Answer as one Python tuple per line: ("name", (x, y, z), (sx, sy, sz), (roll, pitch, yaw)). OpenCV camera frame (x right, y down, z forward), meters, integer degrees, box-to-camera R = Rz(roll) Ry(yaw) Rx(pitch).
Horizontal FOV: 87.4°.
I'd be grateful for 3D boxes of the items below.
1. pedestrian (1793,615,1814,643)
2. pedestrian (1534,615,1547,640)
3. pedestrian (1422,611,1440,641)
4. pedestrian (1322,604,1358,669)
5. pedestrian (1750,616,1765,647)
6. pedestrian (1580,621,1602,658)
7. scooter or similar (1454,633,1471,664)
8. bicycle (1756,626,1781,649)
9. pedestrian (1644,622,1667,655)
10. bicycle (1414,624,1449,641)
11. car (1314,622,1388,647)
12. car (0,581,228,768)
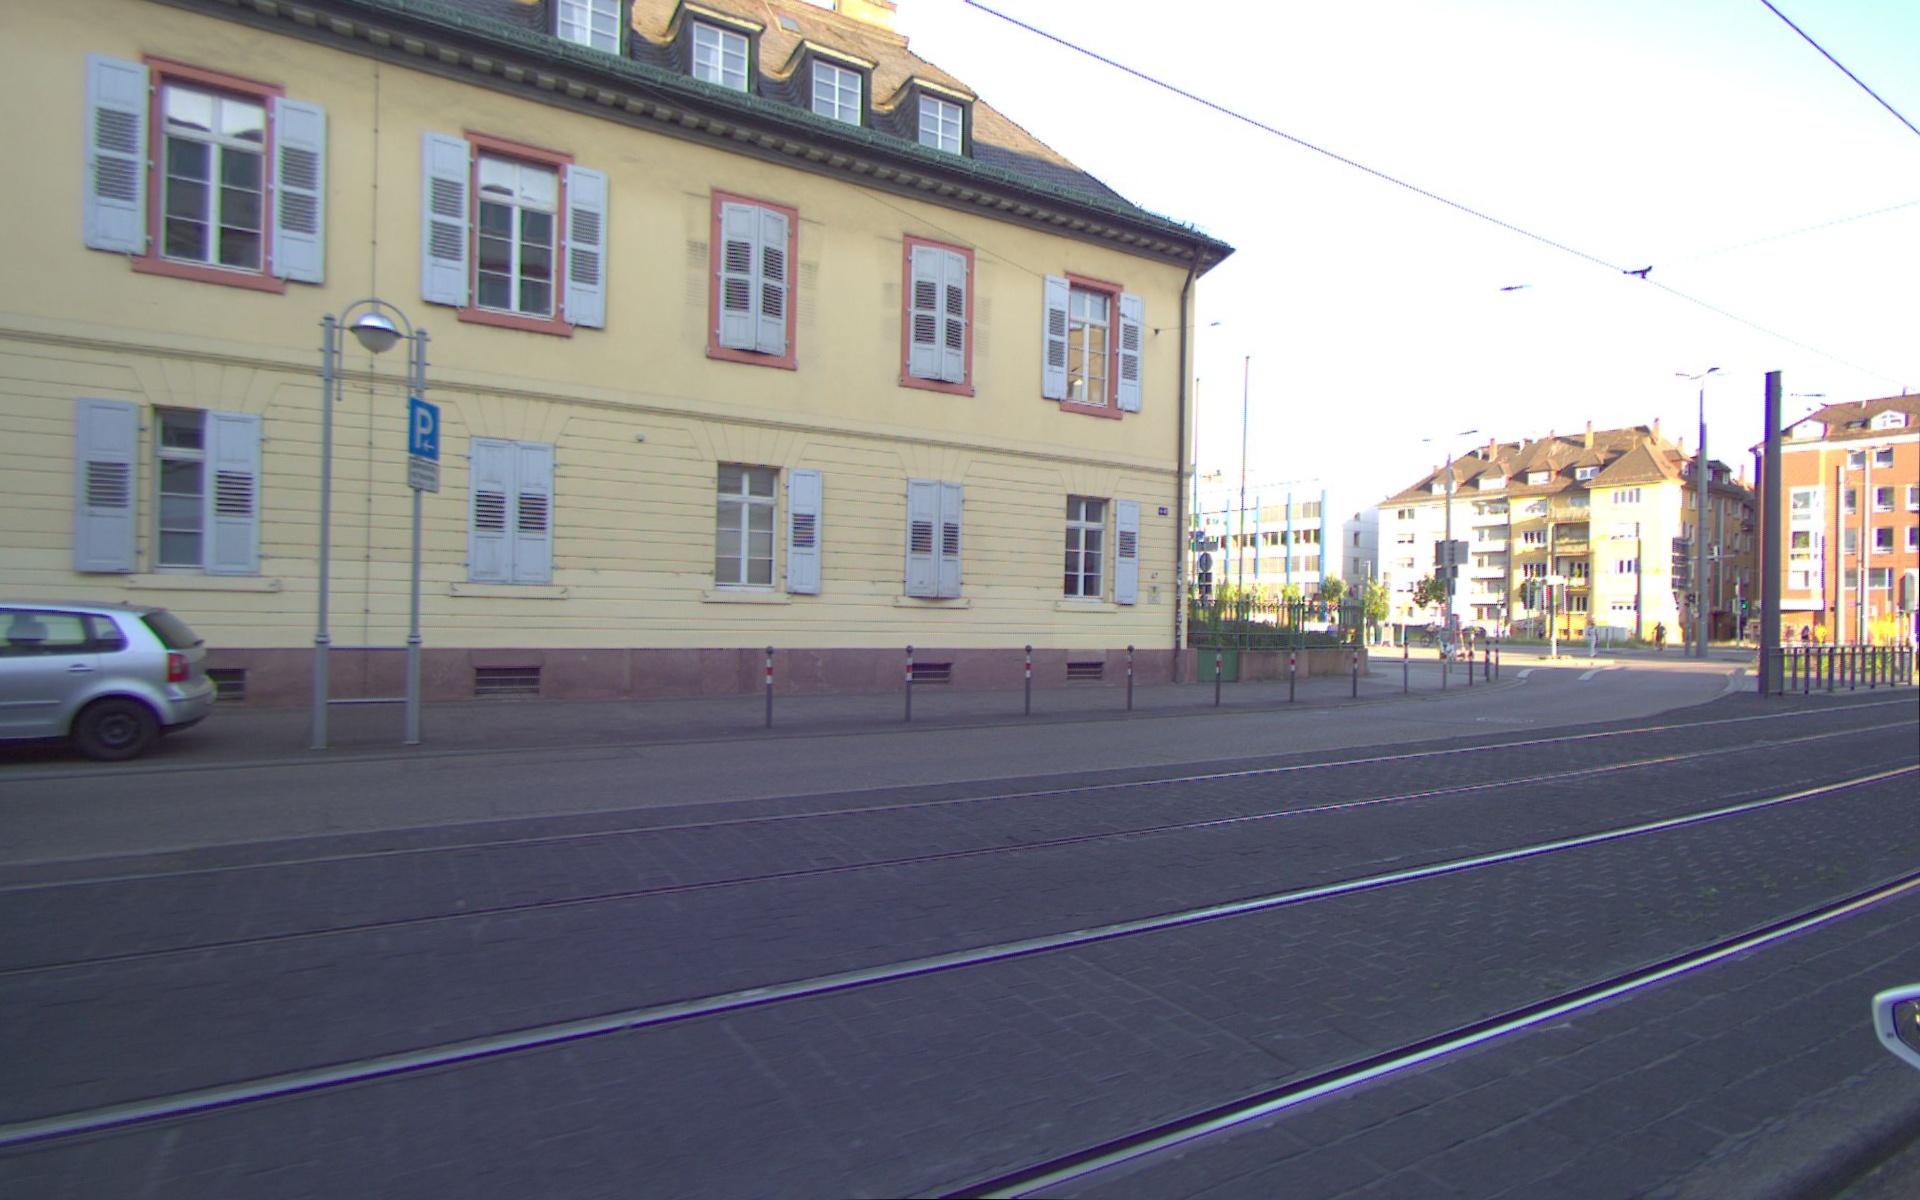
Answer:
("pedestrian", (58.403, 1.976, 69.538), (0.831, 1.893, 0.932), (1, 1, -39))
("pedestrian", (44.705, 2.105, 77.402), (0.710, 1.893, 0.881), (0, -1, 40))
("pedestrian", (31.714, 1.750, 67.632), (0.888, 1.936, 0.836), (1, 0, -41))
("pedestrian", (11.386, 1.078, 30.081), (0.751, 1.918, 0.729), (1, -1, -6))
("pedestrian", (49.485, 1.933, 62.338), (0.557, 1.893, 0.499), (1, 1, -35))
("pedestrian", (33.246, 2.074, 52.886), (0.872, 1.893, 0.972), (0, -1, 39))
("scooter or similar", (21.273, 2.038, 42.513), (0.507, 1.289, 1.256), (0, -1, 20))
("bicycle", (49.888, 2.298, 61.938), (1.995, 1.343, 0.614), (1, 1, -35))
("pedestrian", (42.686, 2.336, 61.625), (1.084, 1.970, 1.020), (0, -1, 41))
("bicycle", (31.726, 2.181, 67.605), (0.888, 1.074, 1.986), (1, -1, -41))
("car", (27.244, 2.362, 70.037), (4.494, 1.639, 1.992), (0, -1, 38))
("car", (-9.371, 0.645, 9.194), (4.168, 1.639, 1.802), (1, 0, -33))
